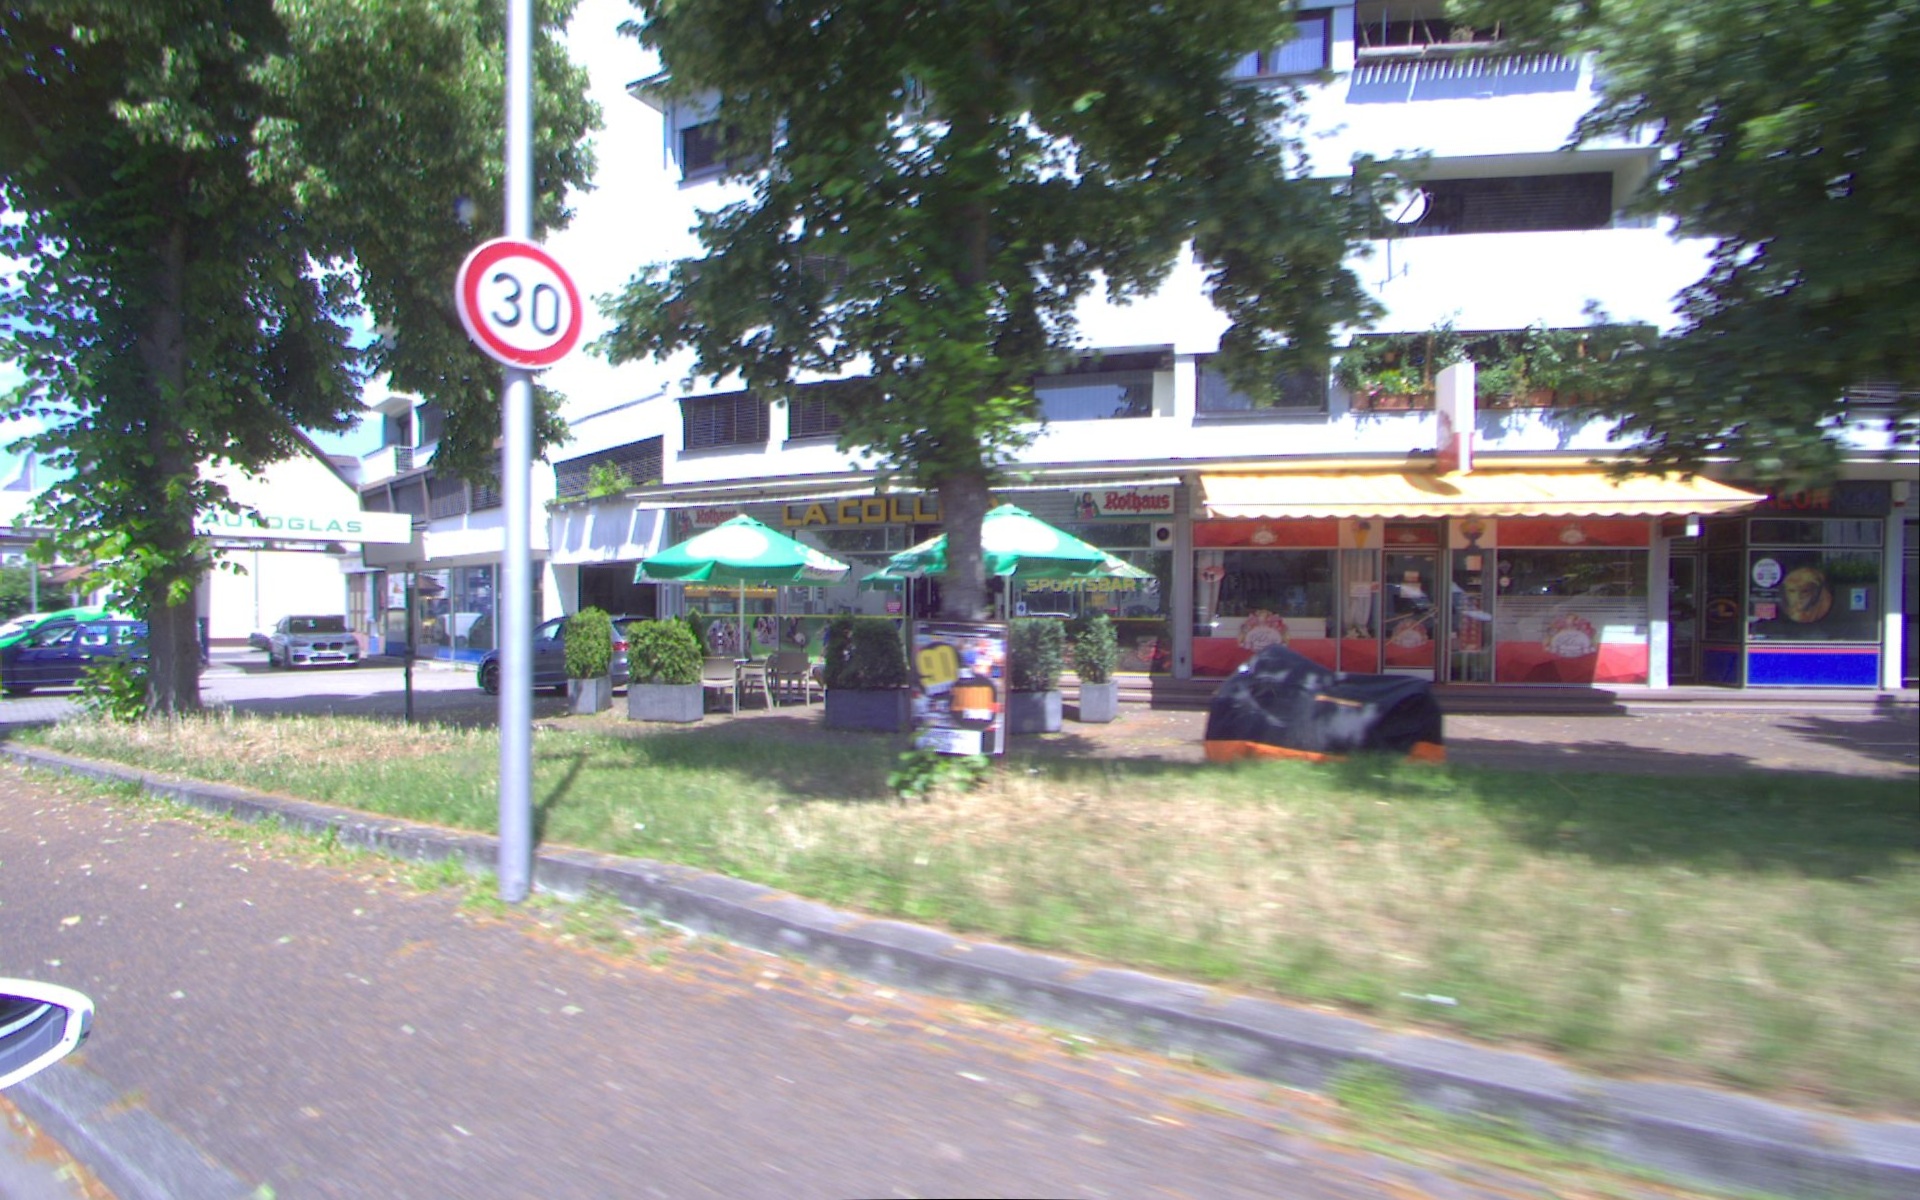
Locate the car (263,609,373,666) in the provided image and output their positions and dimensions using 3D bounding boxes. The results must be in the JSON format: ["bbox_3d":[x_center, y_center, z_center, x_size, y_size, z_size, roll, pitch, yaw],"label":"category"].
[{"bbox_3d":[-19.574,1.098,30.456,1.995,1.616,4.246,1,-1,-45],"label":"car"}]

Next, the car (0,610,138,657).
[{"bbox_3d":[-31.157,1.121,34.587,1.798,1.538,3.919,-1,-1,34],"label":"car"}]

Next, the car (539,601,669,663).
[{"bbox_3d":[-10.224,0.876,28.575,1.980,1.605,4.341,1,-1,-43],"label":"car"}]

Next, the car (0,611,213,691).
[{"bbox_3d":[-17.484,0.963,19.691,4.102,1.458,1.897,0,0,-21],"label":"car"}]

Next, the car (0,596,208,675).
[{"bbox_3d":[-20.784,0.836,24.099,3.947,1.818,1.842,0,0,-2],"label":"car"}]

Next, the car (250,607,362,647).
[{"bbox_3d":[-32.374,1.335,49.678,1.977,1.833,4.283,2,0,42],"label":"car"}]

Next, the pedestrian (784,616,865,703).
[{"bbox_3d":[-2.142,0.923,15.844,1.000,1.322,0.813,0,-1,23],"label":"pedestrian"}]

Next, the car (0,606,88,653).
[{"bbox_3d":[-38.860,1.185,41.240,1.978,1.833,4.281,2,0,43],"label":"car"}]

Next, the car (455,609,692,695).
[{"bbox_3d":[-7.193,0.922,18.546,4.295,1.447,1.701,-1,-1,28],"label":"car"}]
